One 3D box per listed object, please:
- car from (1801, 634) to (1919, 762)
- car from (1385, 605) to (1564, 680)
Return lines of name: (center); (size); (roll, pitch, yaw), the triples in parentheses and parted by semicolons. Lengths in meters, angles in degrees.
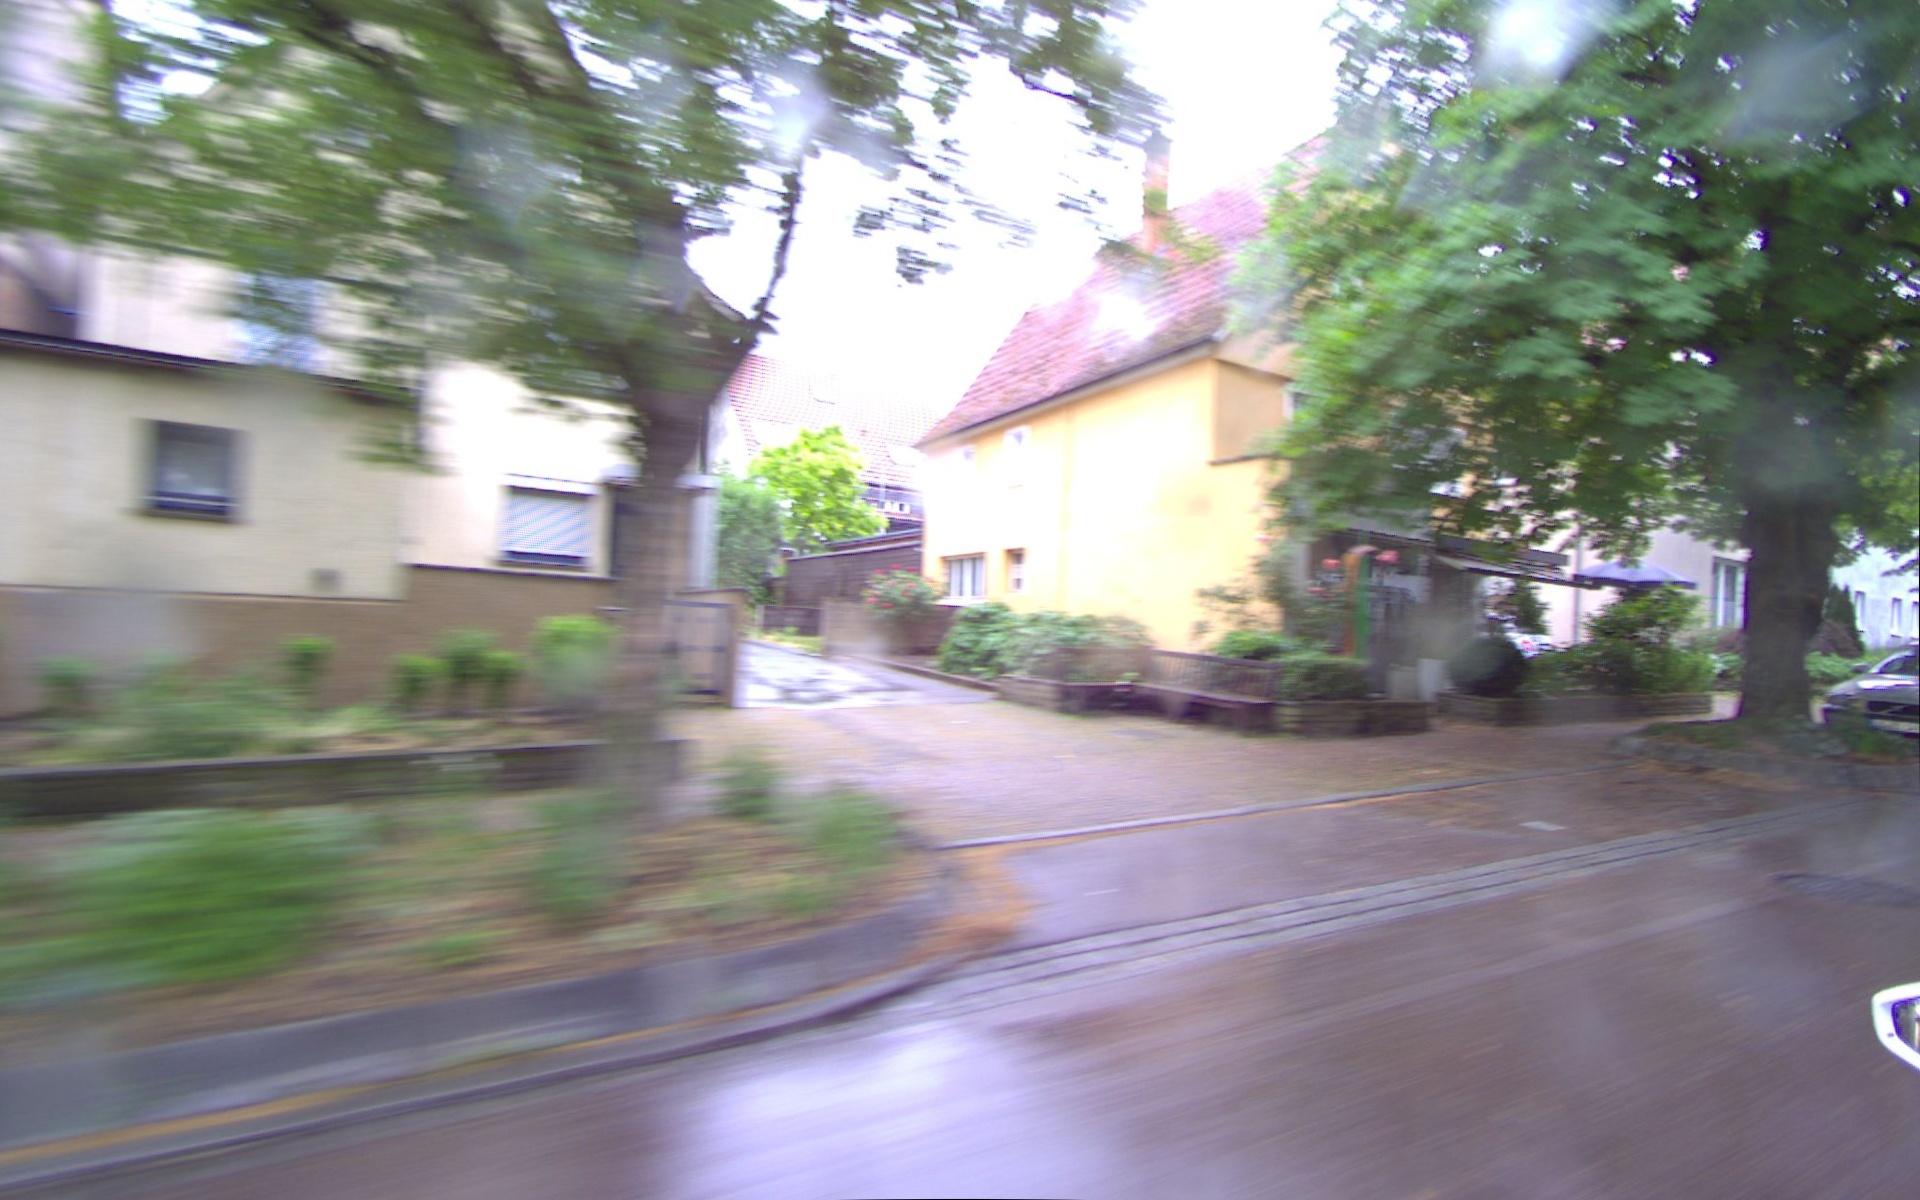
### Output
car: (12.866, 1.191, 12.817); (4.490, 1.407, 1.764); (1, 1, -29)
car: (12.549, 0.992, 24.708); (1.618, 1.497, 3.552); (1, 2, -30)
